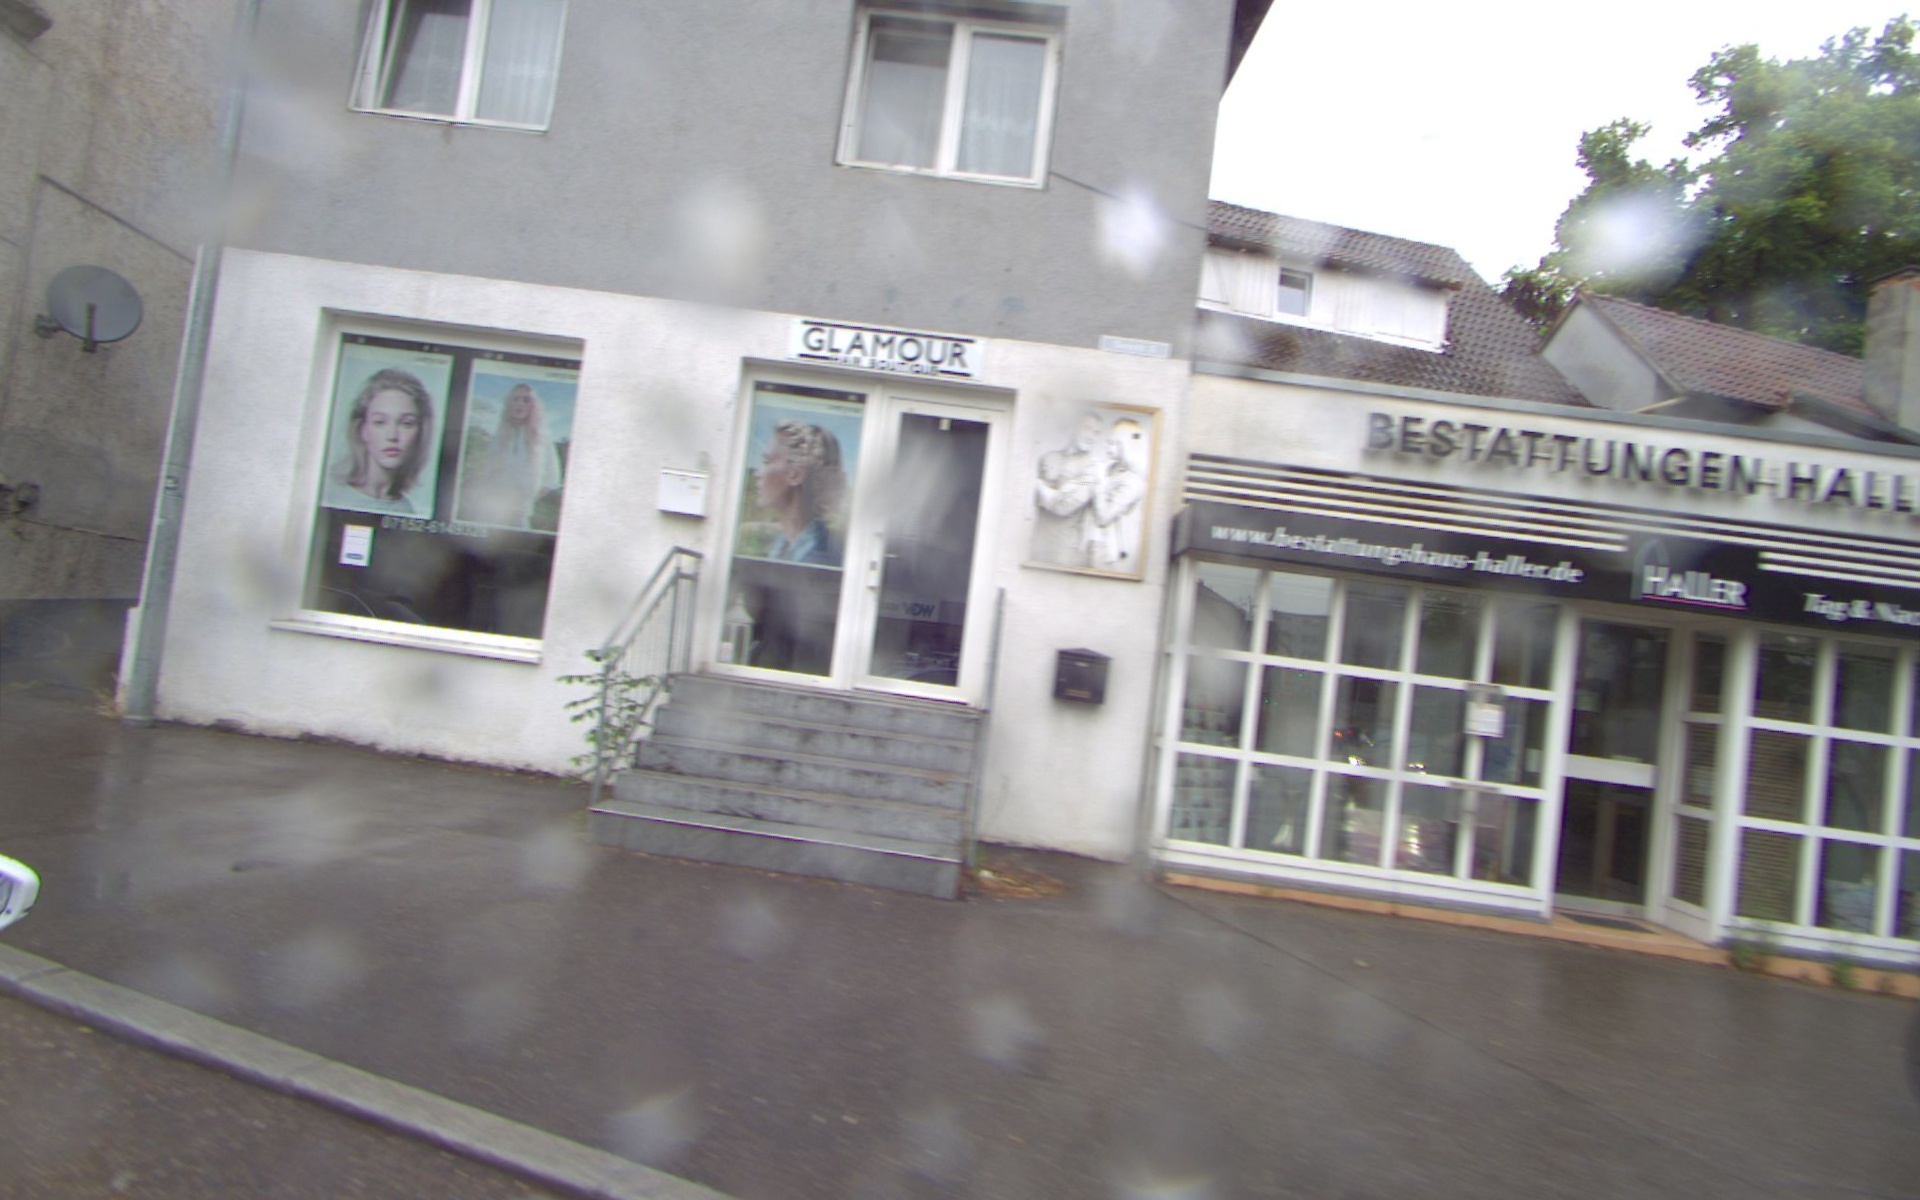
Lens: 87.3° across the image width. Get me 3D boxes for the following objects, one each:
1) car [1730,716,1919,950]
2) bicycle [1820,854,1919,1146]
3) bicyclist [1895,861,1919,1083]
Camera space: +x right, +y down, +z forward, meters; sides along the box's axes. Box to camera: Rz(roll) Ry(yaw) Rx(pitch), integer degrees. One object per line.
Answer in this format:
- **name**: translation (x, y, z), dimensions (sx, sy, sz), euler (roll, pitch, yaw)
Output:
- **car**: translation (9.554, 2.358, 9.024), dimensions (1.964, 1.794, 3.997), euler (9, 1, 0)
- **bicycle**: translation (4.797, 1.743, 4.041), dimensions (2.044, 1.046, 0.764), euler (8, -2, -5)
- **bicyclist**: translation (4.693, 1.355, 4.093), dimensions (1.013, 1.535, 0.685), euler (8, -2, -6)
